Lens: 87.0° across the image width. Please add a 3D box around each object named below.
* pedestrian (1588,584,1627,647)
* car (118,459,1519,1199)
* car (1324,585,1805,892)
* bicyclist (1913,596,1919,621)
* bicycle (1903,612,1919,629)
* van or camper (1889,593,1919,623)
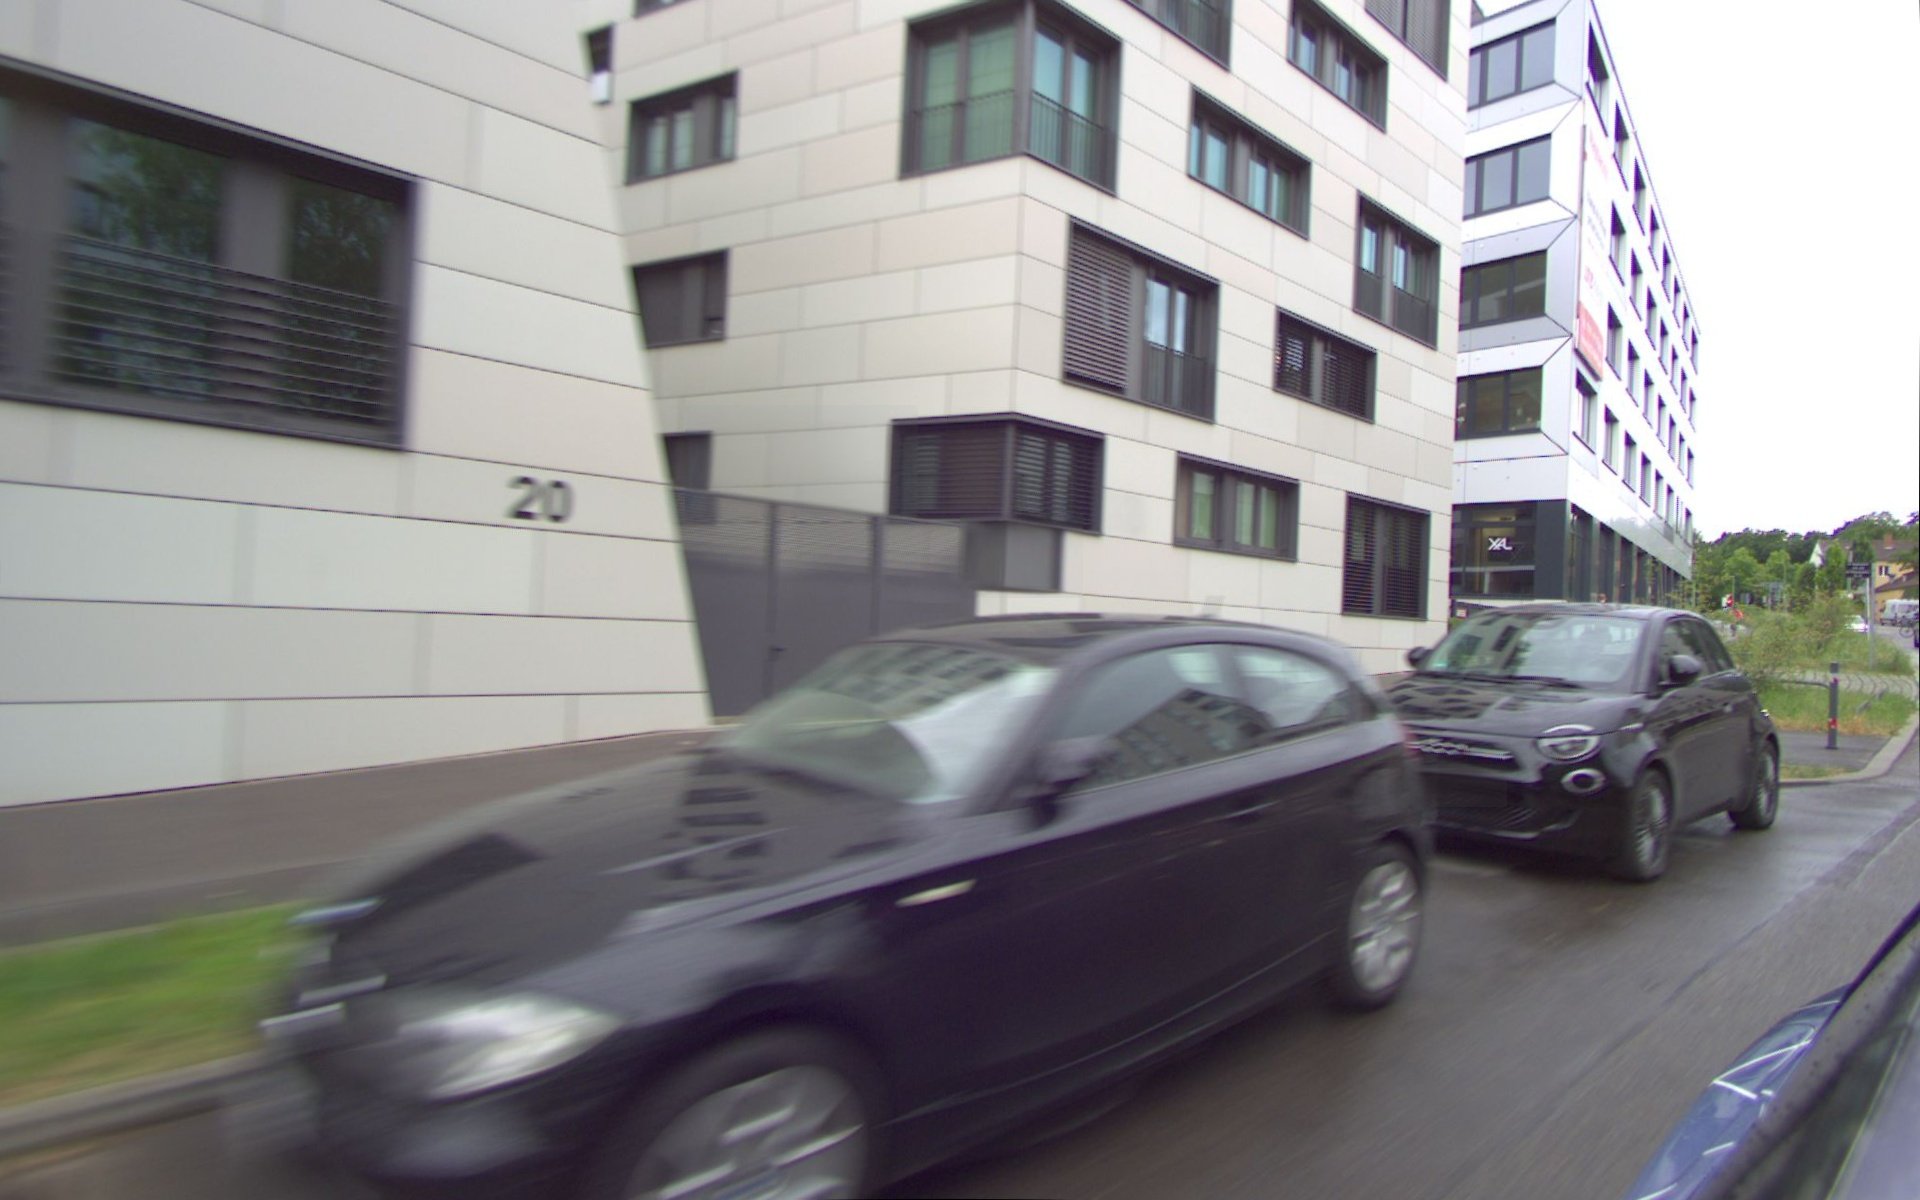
[{"bbox_3d":[19.331,0.445,30.222,0.765,1.818,0.823,-1,2,-45],"label":"pedestrian"},{"bbox_3d":[0.028,0.515,3.454,4.415,1.503,1.811,-1,1,-39],"label":"car"},{"bbox_3d":[4.106,0.679,6.673,3.593,1.497,1.550,0,0,-38],"label":"car"},{"bbox_3d":[59.432,0.534,62.186,0.789,1.542,1.200,-1,1,-39],"label":"bicyclist"},{"bbox_3d":[59.482,1.253,62.142,0.790,0.991,2.253,-1,1,-38],"label":"bicycle"},{"bbox_3d":[92.252,0.728,97.816,2.328,2.800,6.075,0,0,31],"label":"van or camper"}]
